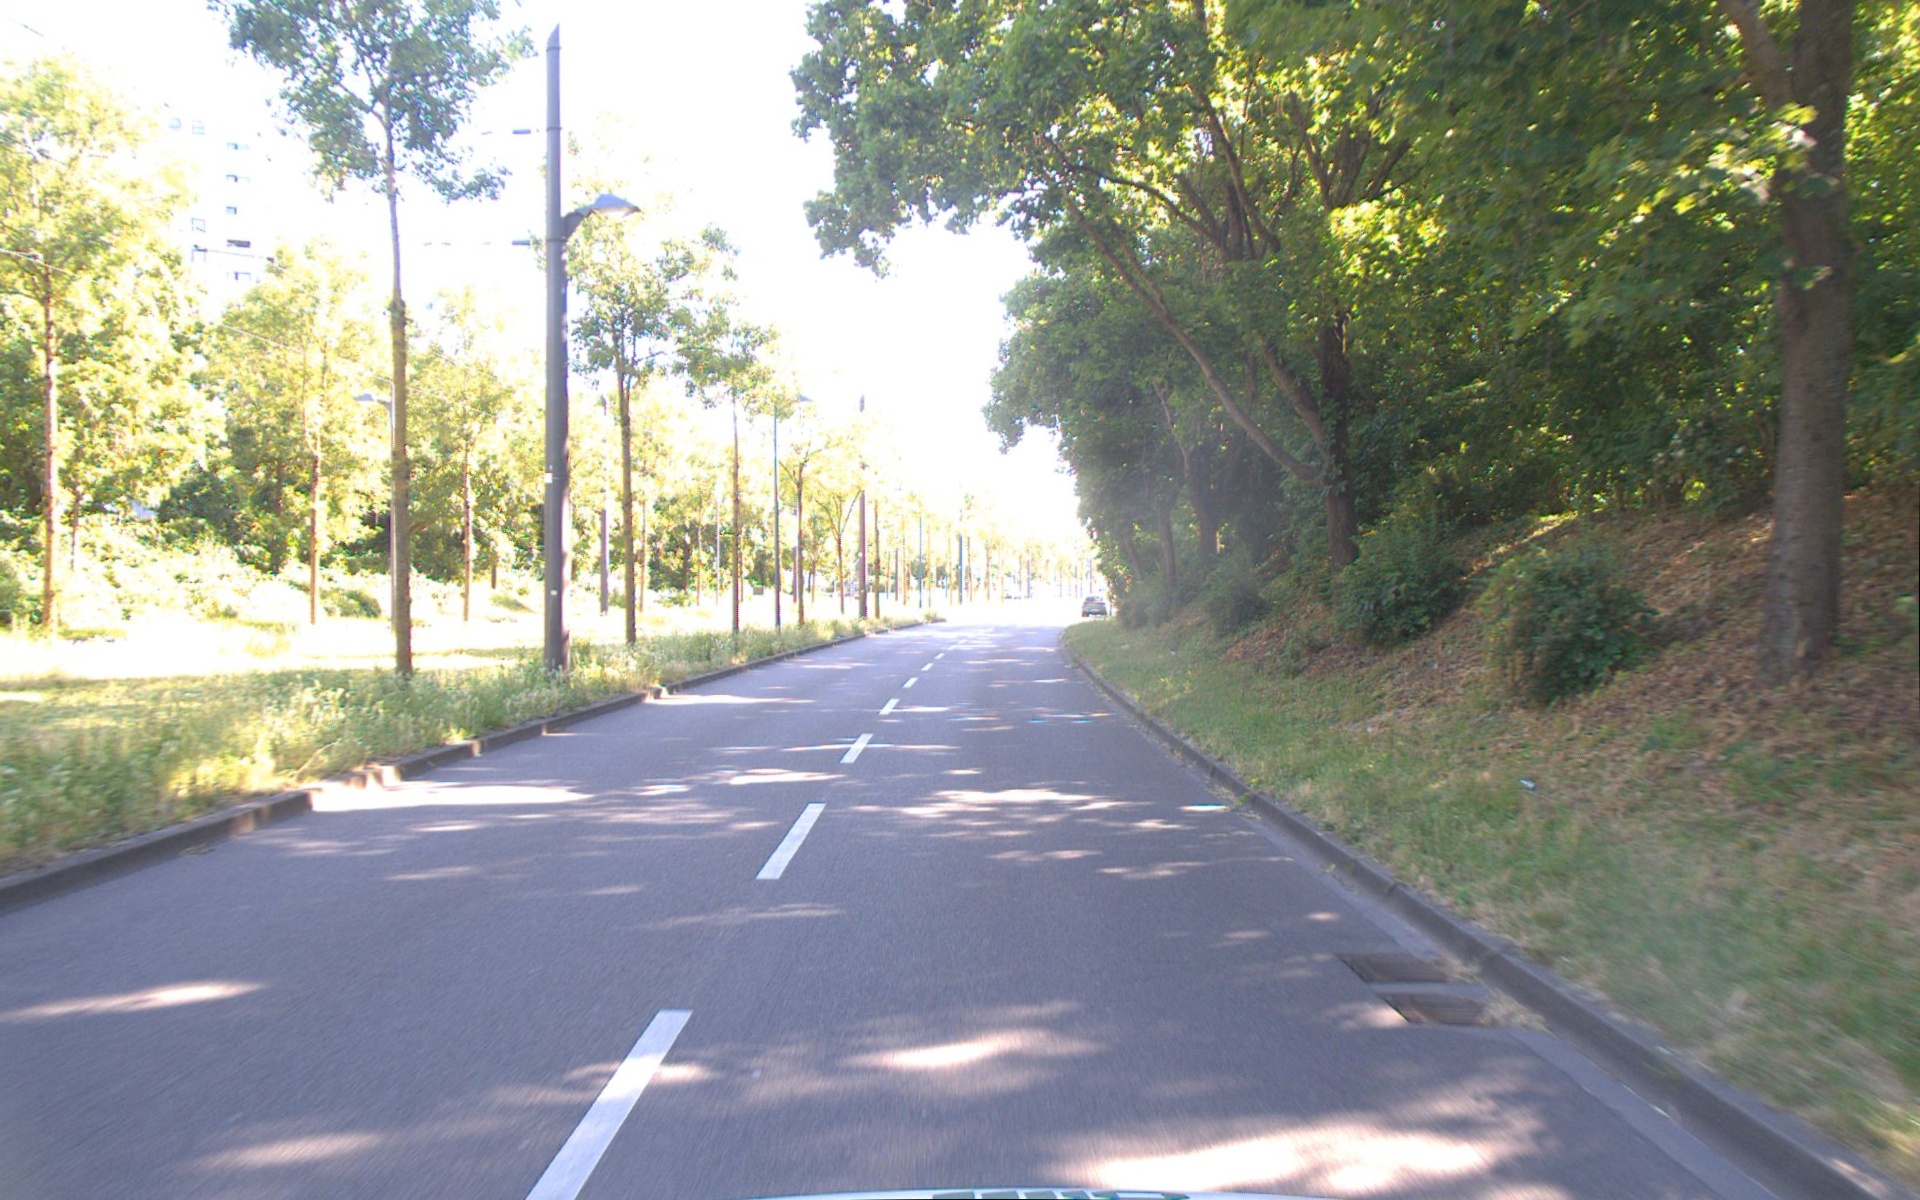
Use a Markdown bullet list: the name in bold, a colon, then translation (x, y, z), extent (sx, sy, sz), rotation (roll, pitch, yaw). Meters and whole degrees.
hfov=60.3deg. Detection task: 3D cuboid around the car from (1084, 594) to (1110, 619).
- **car**: translation (9.026, 0.412, 108.747), extent (1.599, 1.524, 4.238), rotation (1, 0, 6)
